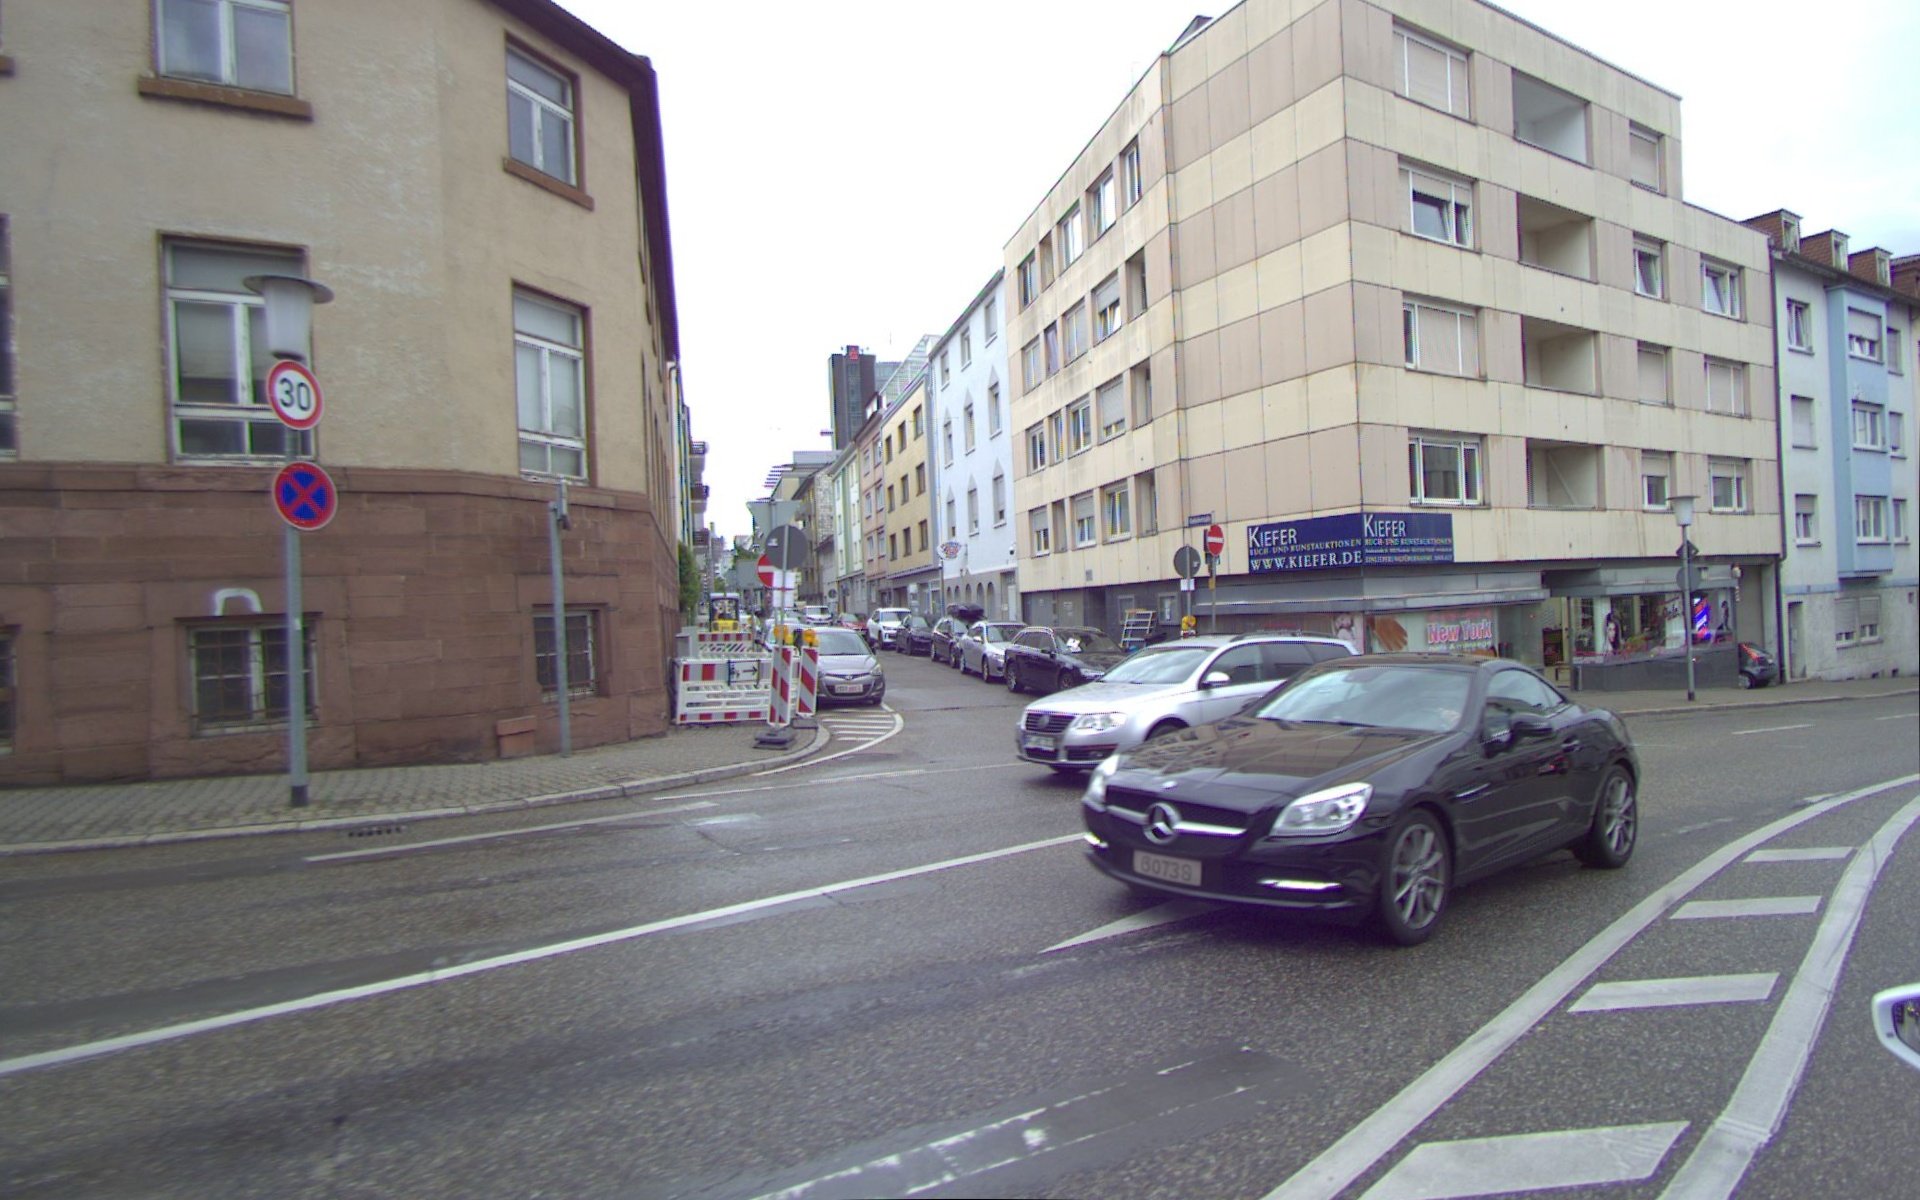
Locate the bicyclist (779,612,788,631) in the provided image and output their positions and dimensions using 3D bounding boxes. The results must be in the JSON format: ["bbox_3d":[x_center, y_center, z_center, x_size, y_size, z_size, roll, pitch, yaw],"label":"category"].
[{"bbox_3d":[-11.154,1.349,63.647,0.458,1.169,0.467,-4,1,-15],"label":"bicyclist"}]

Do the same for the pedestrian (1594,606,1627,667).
[{"bbox_3d":[19.206,1.074,29.663,0.565,1.753,0.596,-4,2,-34],"label":"pedestrian"}]

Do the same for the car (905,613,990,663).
[{"bbox_3d":[-0.508,1.248,33.874,1.866,1.532,4.334,1,-1,-15],"label":"car"}]

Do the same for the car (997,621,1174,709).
[{"bbox_3d":[2.428,1.238,20.592,1.869,1.532,4.328,1,-1,-19],"label":"car"}]

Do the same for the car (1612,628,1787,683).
[{"bbox_3d":[22.601,1.664,30.826,1.780,1.519,3.965,2,-2,-32],"label":"car"}]

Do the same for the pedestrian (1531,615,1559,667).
[{"bbox_3d":[18.539,1.288,31.820,0.665,1.583,0.445,-4,2,-31],"label":"pedestrian"}]

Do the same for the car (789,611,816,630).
[{"bbox_3d":[-13.544,1.733,86.393,1.866,1.532,4.334,1,-1,-15],"label":"car"}]

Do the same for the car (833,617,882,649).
[{"bbox_3d":[-5.345,1.678,51.784,1.866,1.532,4.334,1,-1,-15],"label":"car"}]

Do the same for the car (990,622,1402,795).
[{"bbox_3d":[2.701,1.104,11.077,4.593,1.559,1.735,2,-4,-33],"label":"car"}]

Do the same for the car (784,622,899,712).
[{"bbox_3d":[-2.574,1.314,21.005,1.700,1.531,3.985,-2,1,-17],"label":"car"}]

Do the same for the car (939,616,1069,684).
[{"bbox_3d":[1.026,1.225,25.867,1.869,1.532,4.328,1,-1,-19],"label":"car"}]

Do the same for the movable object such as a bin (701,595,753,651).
[{"bbox_3d":[-8.099,0.756,34.739,1.375,1.755,3.476,-3,1,-18],"label":"movable object such as a bin"}]

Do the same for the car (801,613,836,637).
[{"bbox_3d":[-9.912,1.736,70.188,1.866,1.532,4.334,1,-1,-15],"label":"car"}]

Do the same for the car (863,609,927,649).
[{"bbox_3d":[-2.772,1.174,41.734,1.866,1.532,4.334,1,-1,-15],"label":"car"}]

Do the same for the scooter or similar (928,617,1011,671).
[{"bbox_3d":[0.224,1.253,29.834,1.665,1.346,3.081,-4,1,-15],"label":"scooter or similar"}]

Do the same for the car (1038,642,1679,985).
[{"bbox_3d":[2.574,0.960,6.072,4.104,1.335,1.703,1,-2,-36],"label":"car"}]
